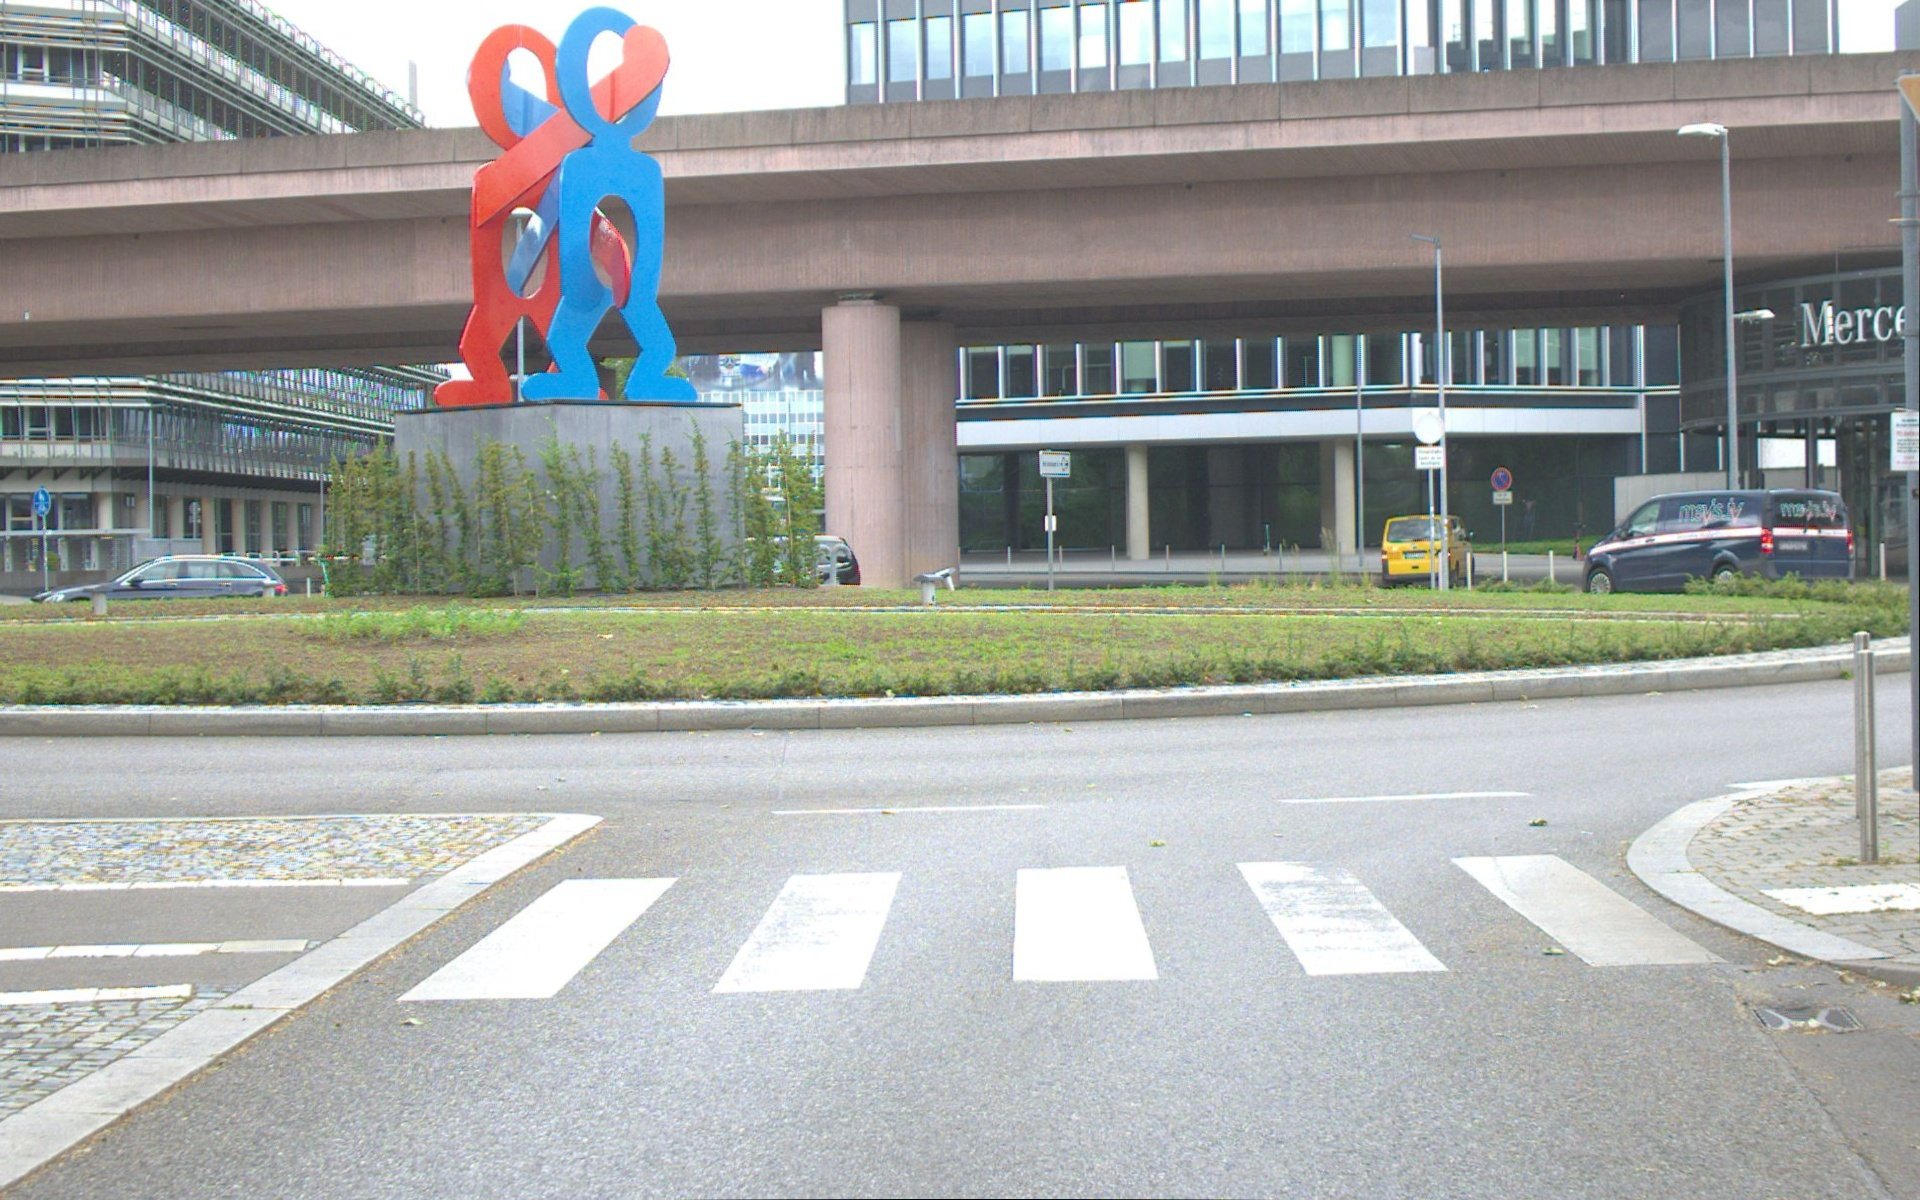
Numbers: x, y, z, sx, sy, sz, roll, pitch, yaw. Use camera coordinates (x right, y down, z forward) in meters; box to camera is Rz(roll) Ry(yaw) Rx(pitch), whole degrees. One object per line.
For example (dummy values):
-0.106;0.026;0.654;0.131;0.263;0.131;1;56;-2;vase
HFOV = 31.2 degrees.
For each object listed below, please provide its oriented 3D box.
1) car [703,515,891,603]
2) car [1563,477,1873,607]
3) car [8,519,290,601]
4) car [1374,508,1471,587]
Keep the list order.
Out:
-3.368;-0.852;71.598;1.997;1.766;3.993;0;1;32;car
12.203;-0.925;55.652;2.276;2.007;4.784;0;1;-30;car
-14.785;-0.738;62.658;4.917;1.455;2.001;0;1;-15;car
12.083;-1.371;89.624;1.995;2.007;3.997;0;1;15;car
